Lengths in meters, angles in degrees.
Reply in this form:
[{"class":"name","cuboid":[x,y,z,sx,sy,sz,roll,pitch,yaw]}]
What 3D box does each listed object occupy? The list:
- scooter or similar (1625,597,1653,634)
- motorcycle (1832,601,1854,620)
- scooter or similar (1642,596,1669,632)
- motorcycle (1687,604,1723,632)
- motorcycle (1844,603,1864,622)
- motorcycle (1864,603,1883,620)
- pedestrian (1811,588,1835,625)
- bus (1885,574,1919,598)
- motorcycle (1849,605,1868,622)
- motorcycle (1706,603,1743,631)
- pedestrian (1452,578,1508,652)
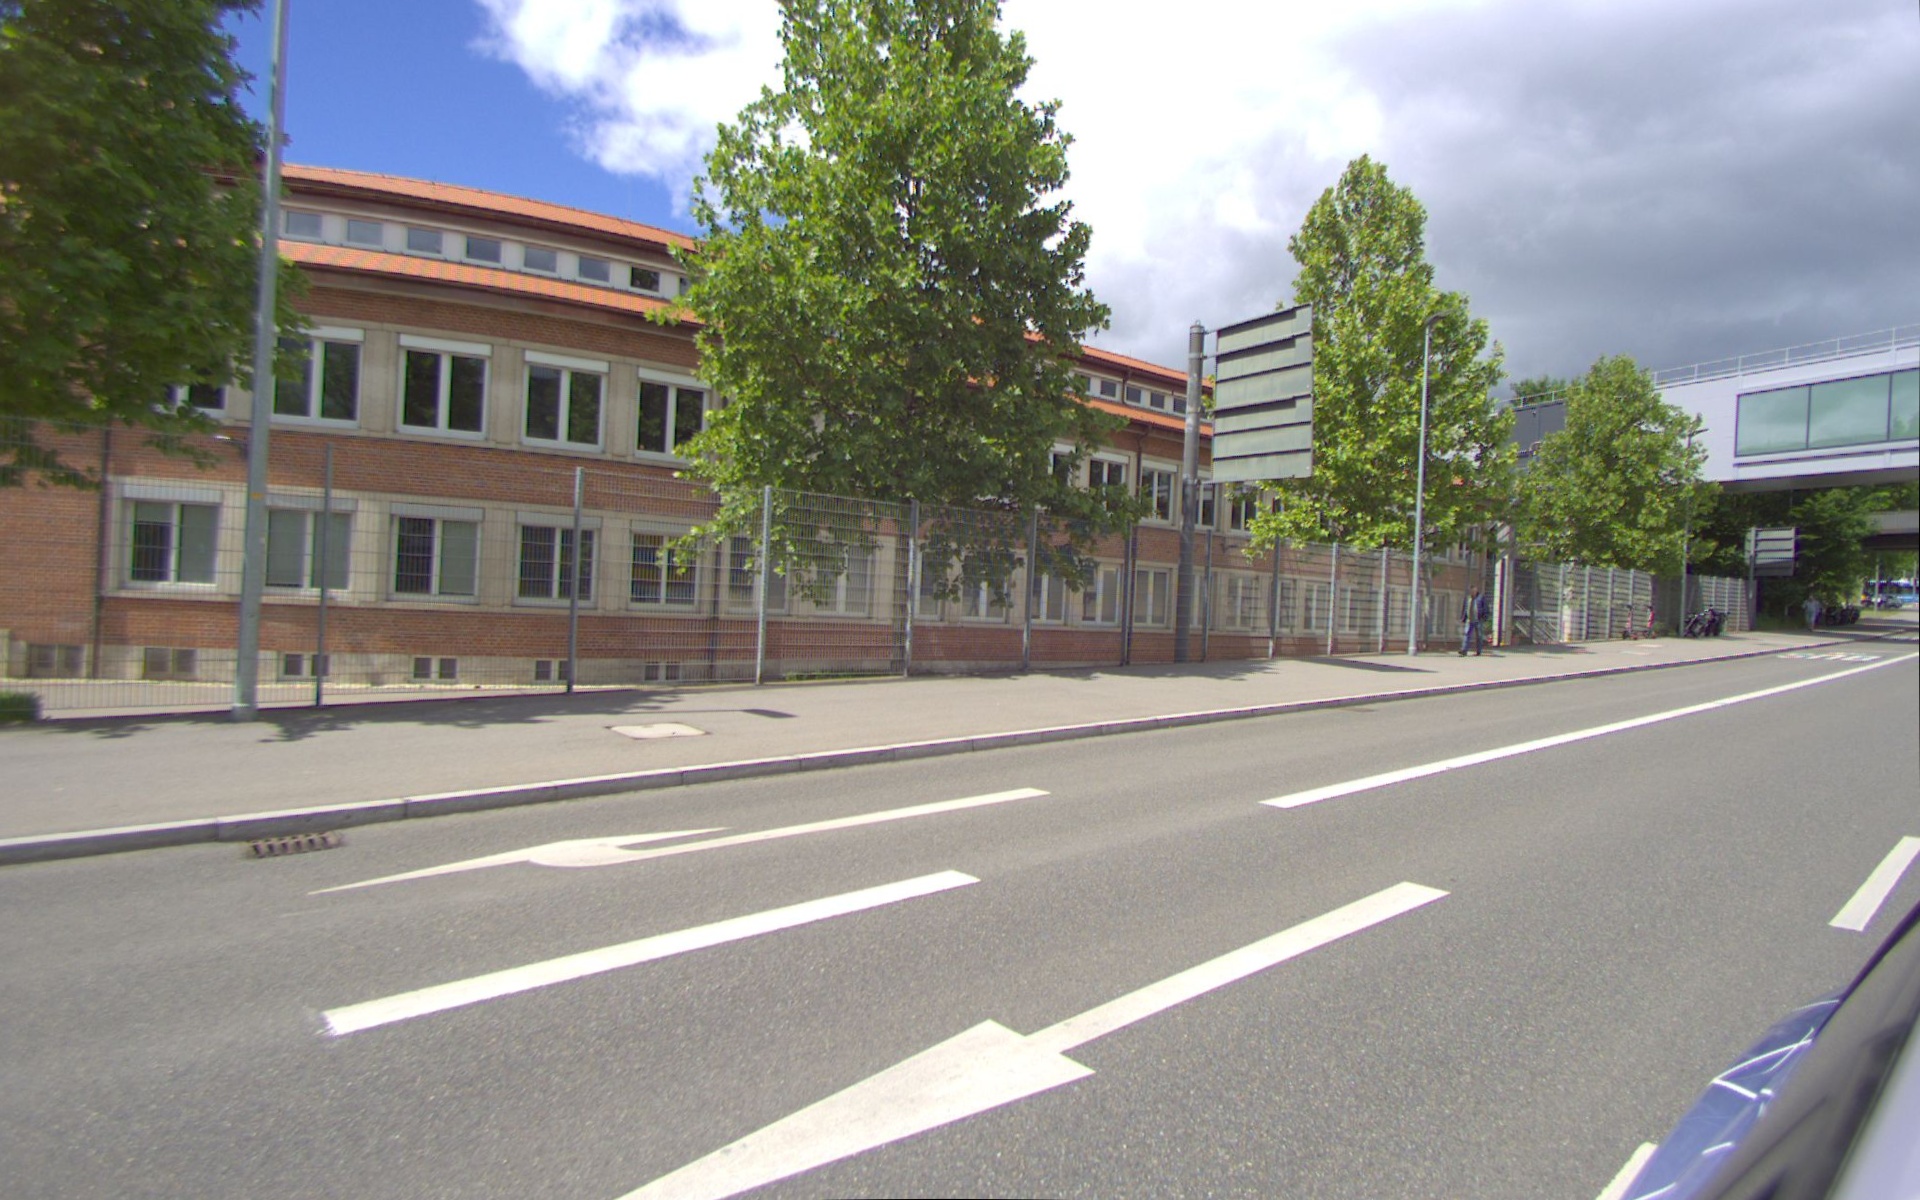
[{"class":"scooter or similar","cuboid":[24.593,0.556,36.654,1.313,1.310,0.492,0,2,-41]},{"class":"motorcycle","cuboid":[54.495,0.643,62.460,2.075,1.169,0.679,0,2,-40]},{"class":"scooter or similar","cuboid":[26.127,0.535,38.006,1.313,1.310,0.492,0,2,-41]},{"class":"motorcycle","cuboid":[30.179,0.720,40.991,2.208,1.077,0.670,0,4,-42]},{"class":"motorcycle","cuboid":[56.438,0.793,63.887,2.123,1.157,0.679,0,2,-42]},{"class":"motorcycle","cuboid":[60.123,0.765,66.625,2.143,1.096,0.679,0,2,-42]},{"class":"pedestrian","cuboid":[45.521,0.350,53.382,1.078,1.911,0.791,0,1,-42]},{"class":"bus","cuboid":[122.664,-1.761,126.699,2.603,2.972,9.782,-1,0,-37]},{"class":"motorcycle","cuboid":[58.151,0.868,65.507,2.003,1.096,0.679,0,2,-42]},{"class":"motorcycle","cuboid":[32.230,0.693,42.674,2.466,1.077,0.709,0,4,-42]},{"class":"pedestrian","cuboid":[12.966,0.359,25.242,0.924,1.764,0.879,1,3,-41]}]
